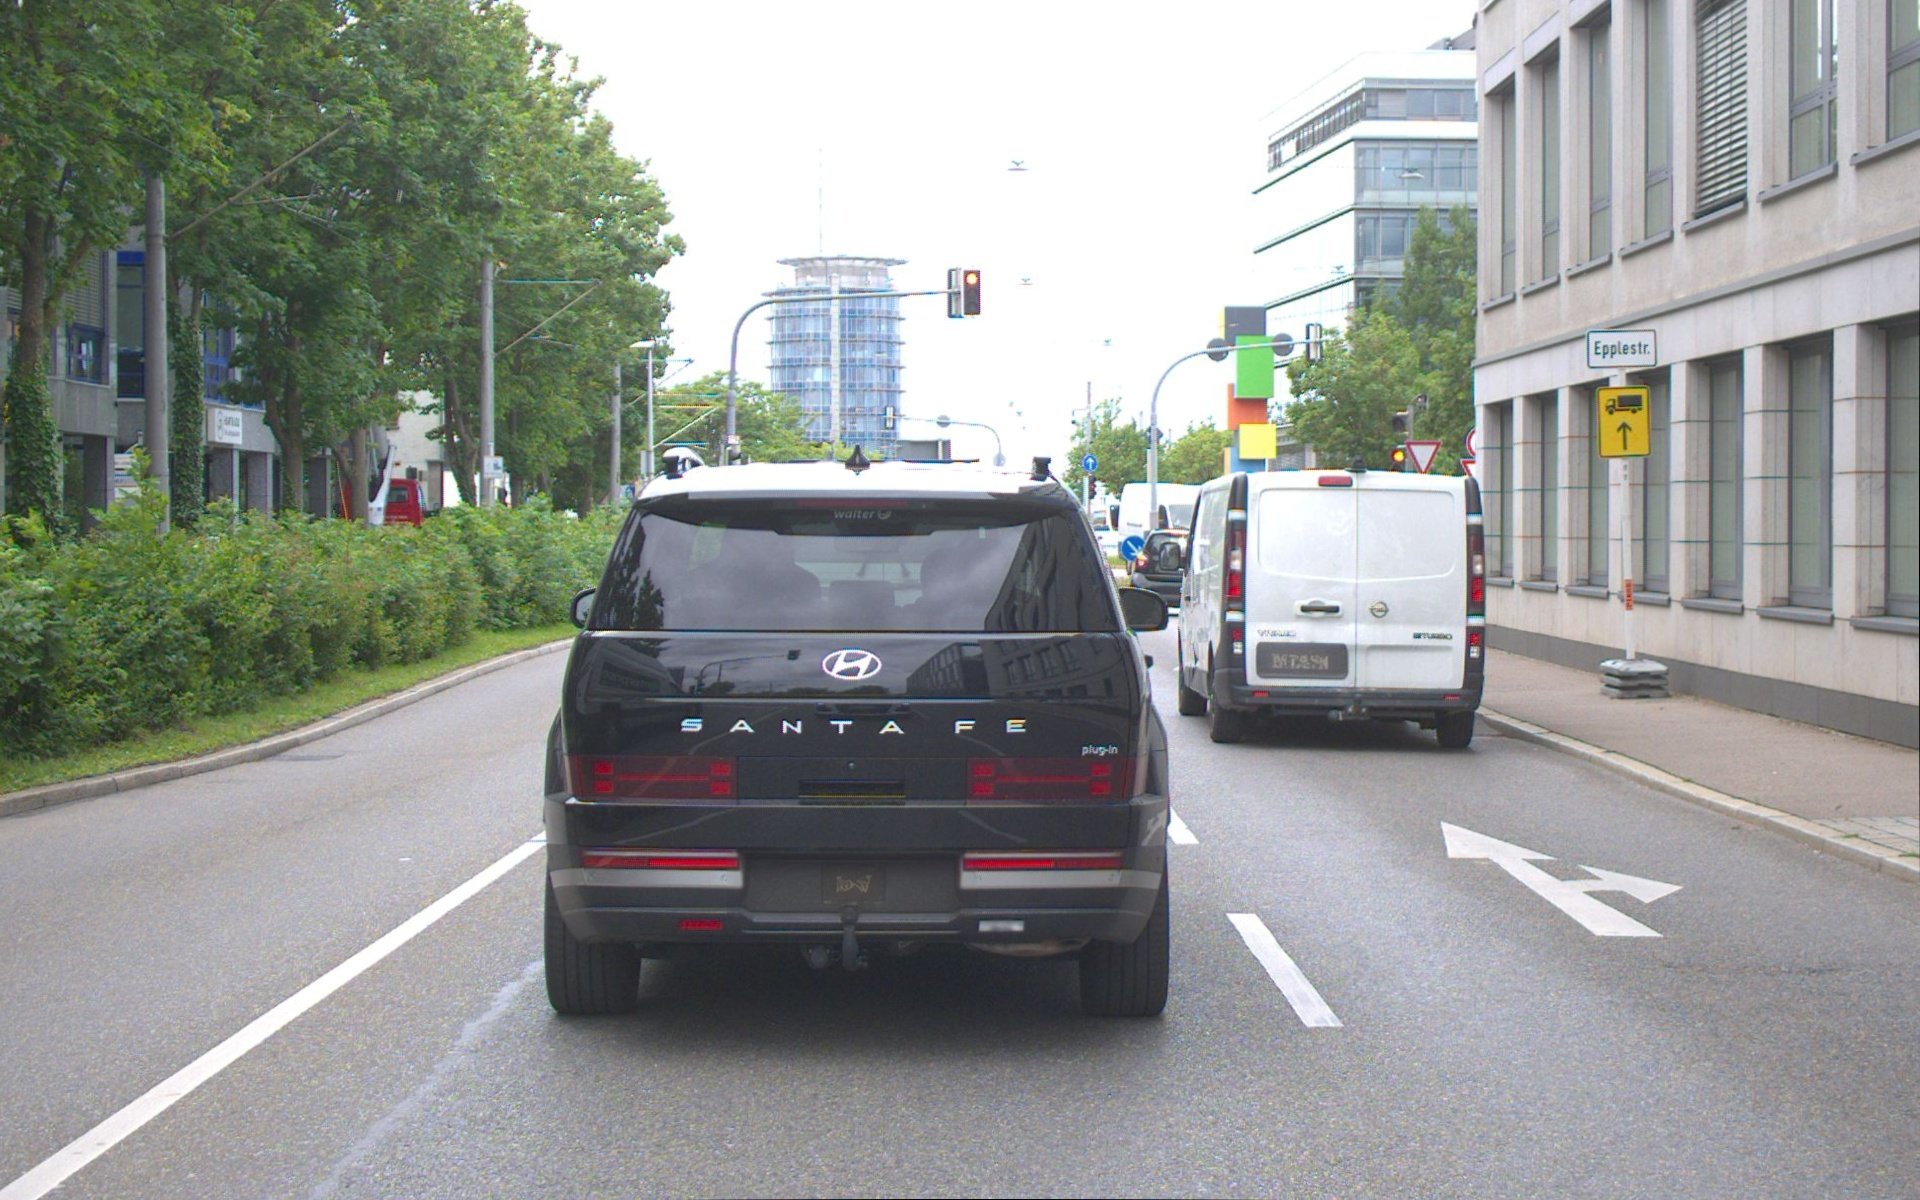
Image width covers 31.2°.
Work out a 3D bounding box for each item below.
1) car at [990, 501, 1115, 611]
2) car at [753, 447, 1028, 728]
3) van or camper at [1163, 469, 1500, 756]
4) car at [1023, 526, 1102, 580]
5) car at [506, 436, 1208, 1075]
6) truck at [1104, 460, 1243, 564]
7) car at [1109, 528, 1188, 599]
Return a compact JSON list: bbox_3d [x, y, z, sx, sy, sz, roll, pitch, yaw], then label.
[{"bbox_3d":[1.530,-0.761,58.179,1.993,1.784,4.000,0,1,0],"label":"car"},{"bbox_3d":[-0.629,-0.134,26.670,1.931,1.987,4.536,0,1,-4],"label":"car"},{"bbox_3d":[2.656,0.037,25.541,1.993,1.909,4.332,1,1,0],"label":"van or camper"},{"bbox_3d":[3.111,-1.440,105.164,1.993,1.613,4.001,-1,1,-4],"label":"car"},{"bbox_3d":[-0.397,0.396,11.620,1.908,1.743,4.397,0,1,-3],"label":"car"},{"bbox_3d":[5.747,-2.374,93.578,2.331,2.738,6.489,-1,1,-10],"label":"truck"},{"bbox_3d":[4.352,-0.866,79.503,1.759,1.603,4.188,0,1,3],"label":"car"}]
